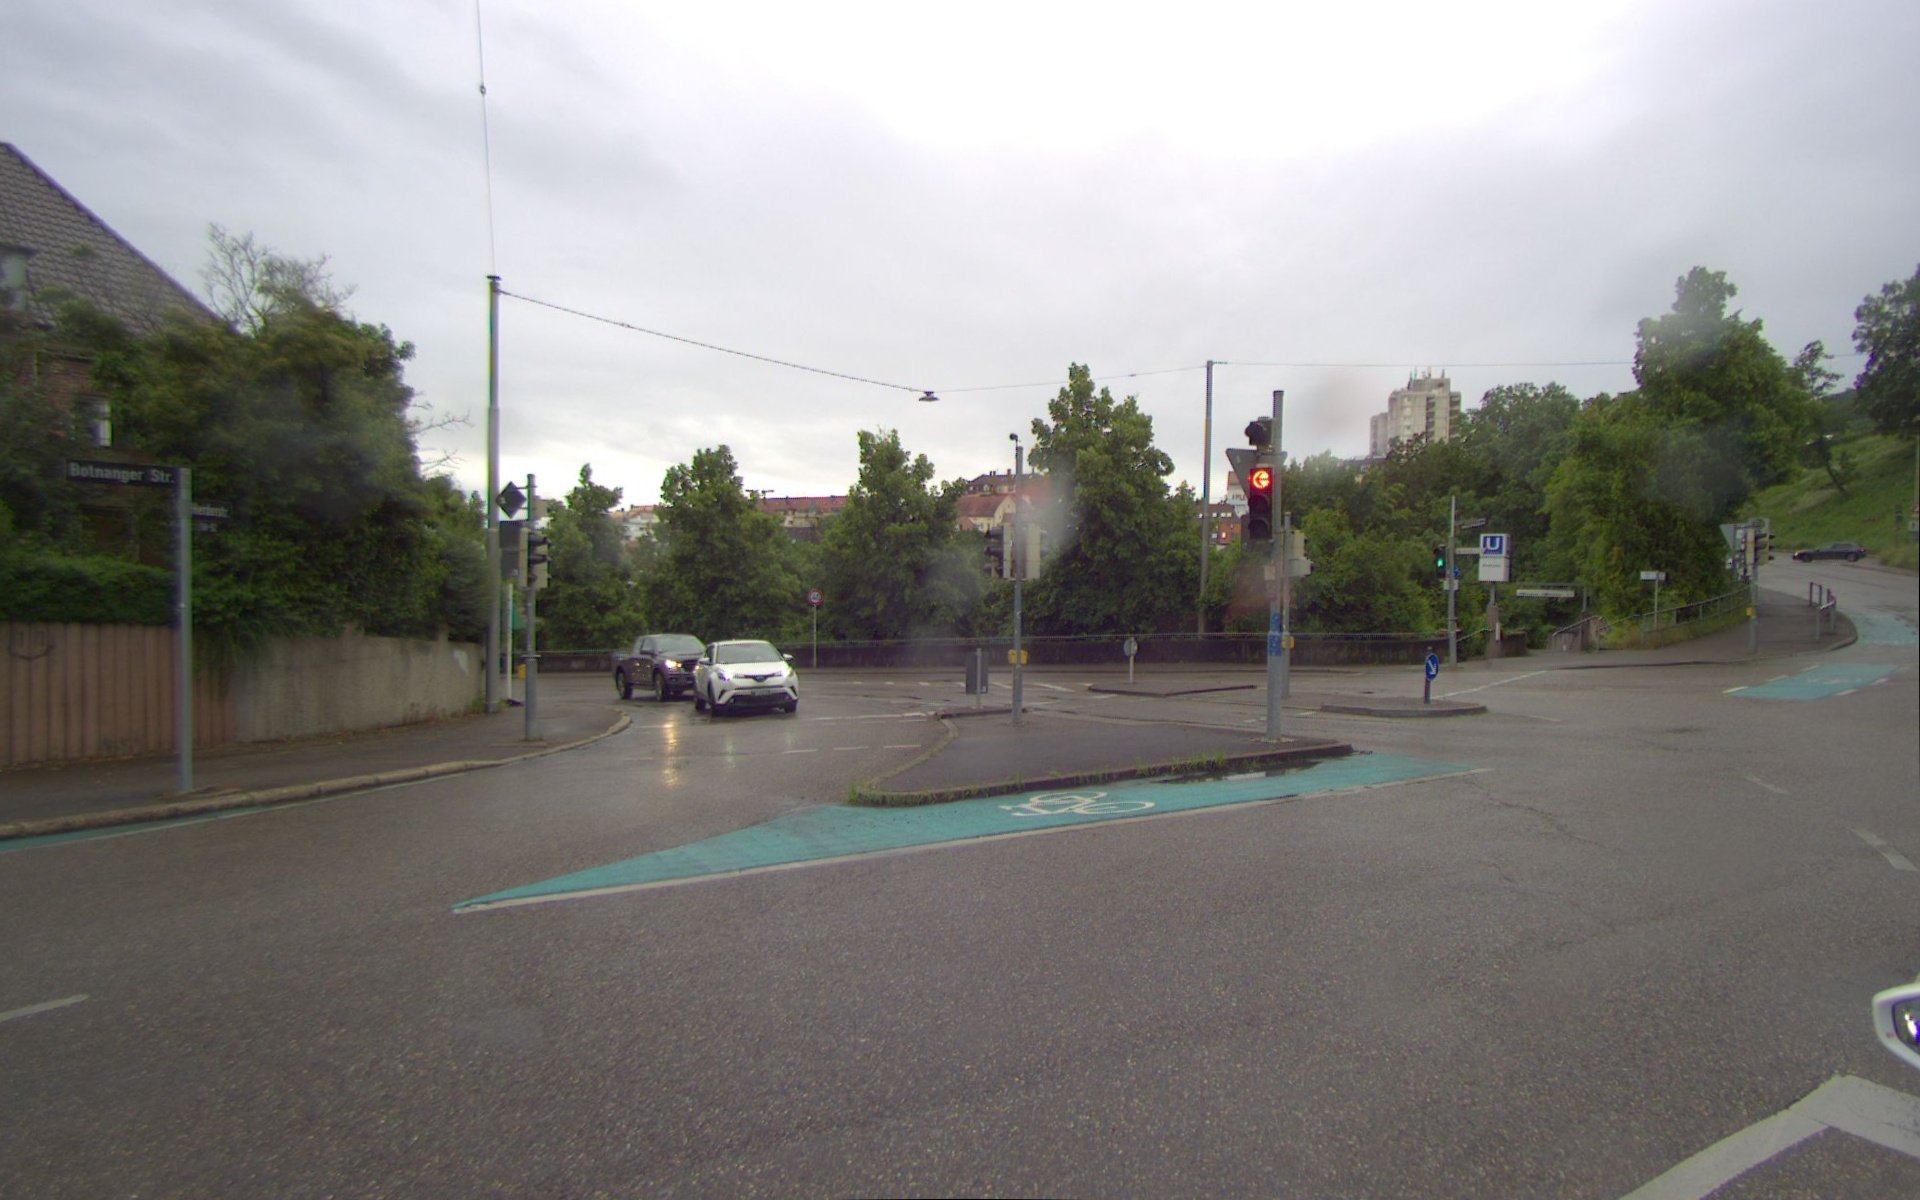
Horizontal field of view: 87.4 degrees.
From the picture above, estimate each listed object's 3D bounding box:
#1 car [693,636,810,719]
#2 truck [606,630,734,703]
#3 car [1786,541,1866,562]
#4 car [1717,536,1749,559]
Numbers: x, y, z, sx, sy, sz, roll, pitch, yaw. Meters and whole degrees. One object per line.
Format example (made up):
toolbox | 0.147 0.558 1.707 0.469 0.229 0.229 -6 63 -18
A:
car | -4.582 1.630 21.625 1.810 1.527 3.866 -2 -2 -21
truck | -8.378 1.916 28.733 1.890 1.809 4.940 -2 -3 -36
car | 65.198 -3.609 75.663 1.948 1.532 4.349 -3 3 -42
car | 74.335 -5.033 96.556 2.043 2.033 4.788 1 1 42
